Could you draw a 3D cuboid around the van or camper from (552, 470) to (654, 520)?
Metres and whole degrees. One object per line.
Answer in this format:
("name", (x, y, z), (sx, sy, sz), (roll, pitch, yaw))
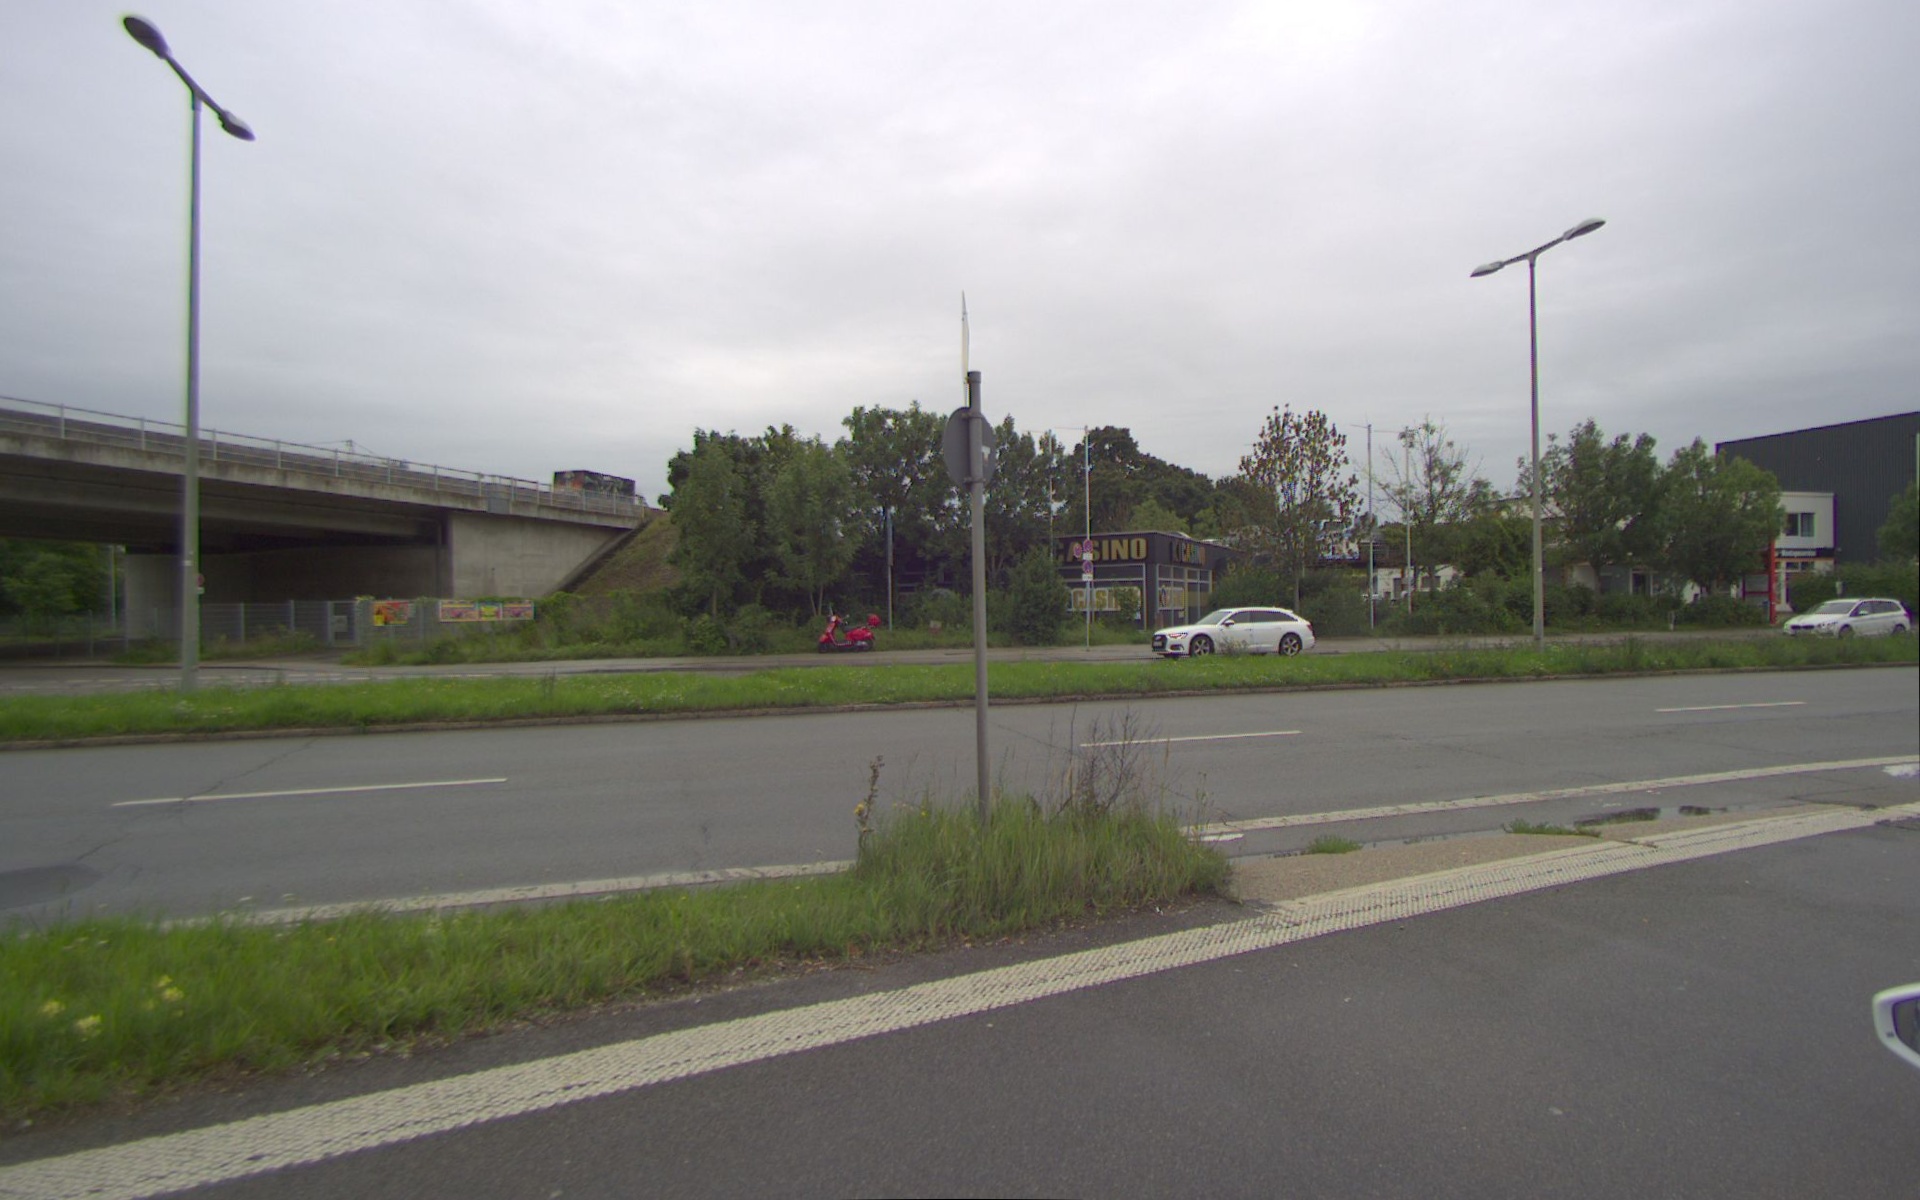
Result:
("van or camper", (-22.507, -6.561, 63.700), (2.595, 2.275, 6.039), (0, -2, 25))

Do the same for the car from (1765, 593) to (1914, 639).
("car", (31.735, 0.555, 36.281), (4.500, 1.593, 1.993), (0, -1, -17))

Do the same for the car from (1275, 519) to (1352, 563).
("car", (21.586, -3.565, 61.571), (2.100, 2.040, 4.784), (2, -3, -16))

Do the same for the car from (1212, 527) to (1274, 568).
("car", (20.212, -3.712, 71.951), (2.100, 2.400, 4.784), (2, -3, -16))

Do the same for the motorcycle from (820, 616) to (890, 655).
("motorcycle", (-3.352, 1.119, 32.057), (2.161, 1.192, 0.533), (0, 0, -18))

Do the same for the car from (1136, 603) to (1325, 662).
("car", (7.875, 0.917, 29.326), (5.036, 1.593, 1.993), (0, -1, -17))
